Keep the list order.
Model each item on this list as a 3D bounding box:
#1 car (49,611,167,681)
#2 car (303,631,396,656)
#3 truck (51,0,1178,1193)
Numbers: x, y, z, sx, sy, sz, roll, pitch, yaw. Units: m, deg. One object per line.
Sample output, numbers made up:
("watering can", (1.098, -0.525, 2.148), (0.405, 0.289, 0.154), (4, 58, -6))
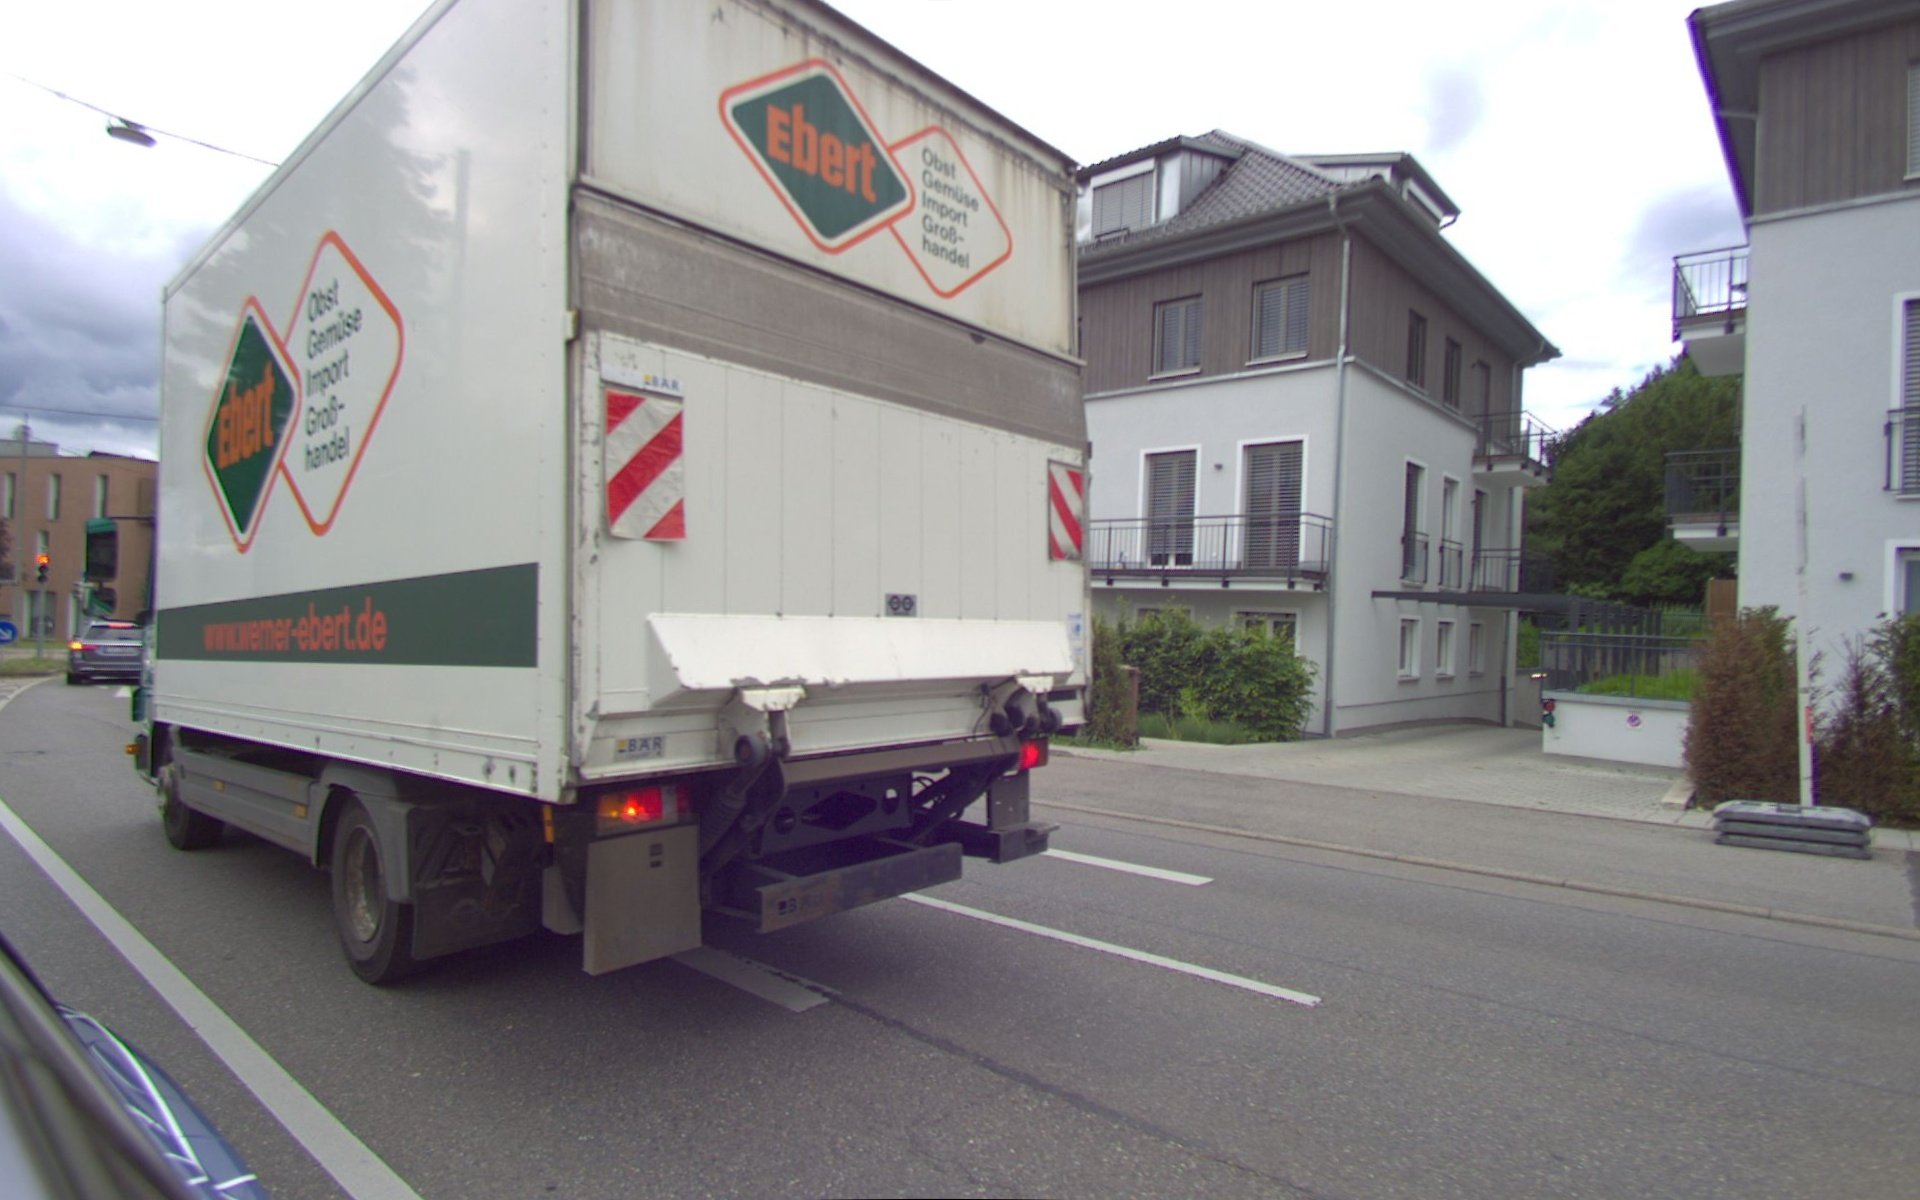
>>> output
("car", (-19.991, 1.073, 23.921), (1.801, 1.496, 4.758), (3, -3, -37))
("car", (-33.067, 2.352, 54.952), (1.984, 1.253, 3.974), (1, -1, 19))
("truck", (-2.776, -0.348, 5.890), (7.490, 3.487, 2.749), (0, -2, 41))
